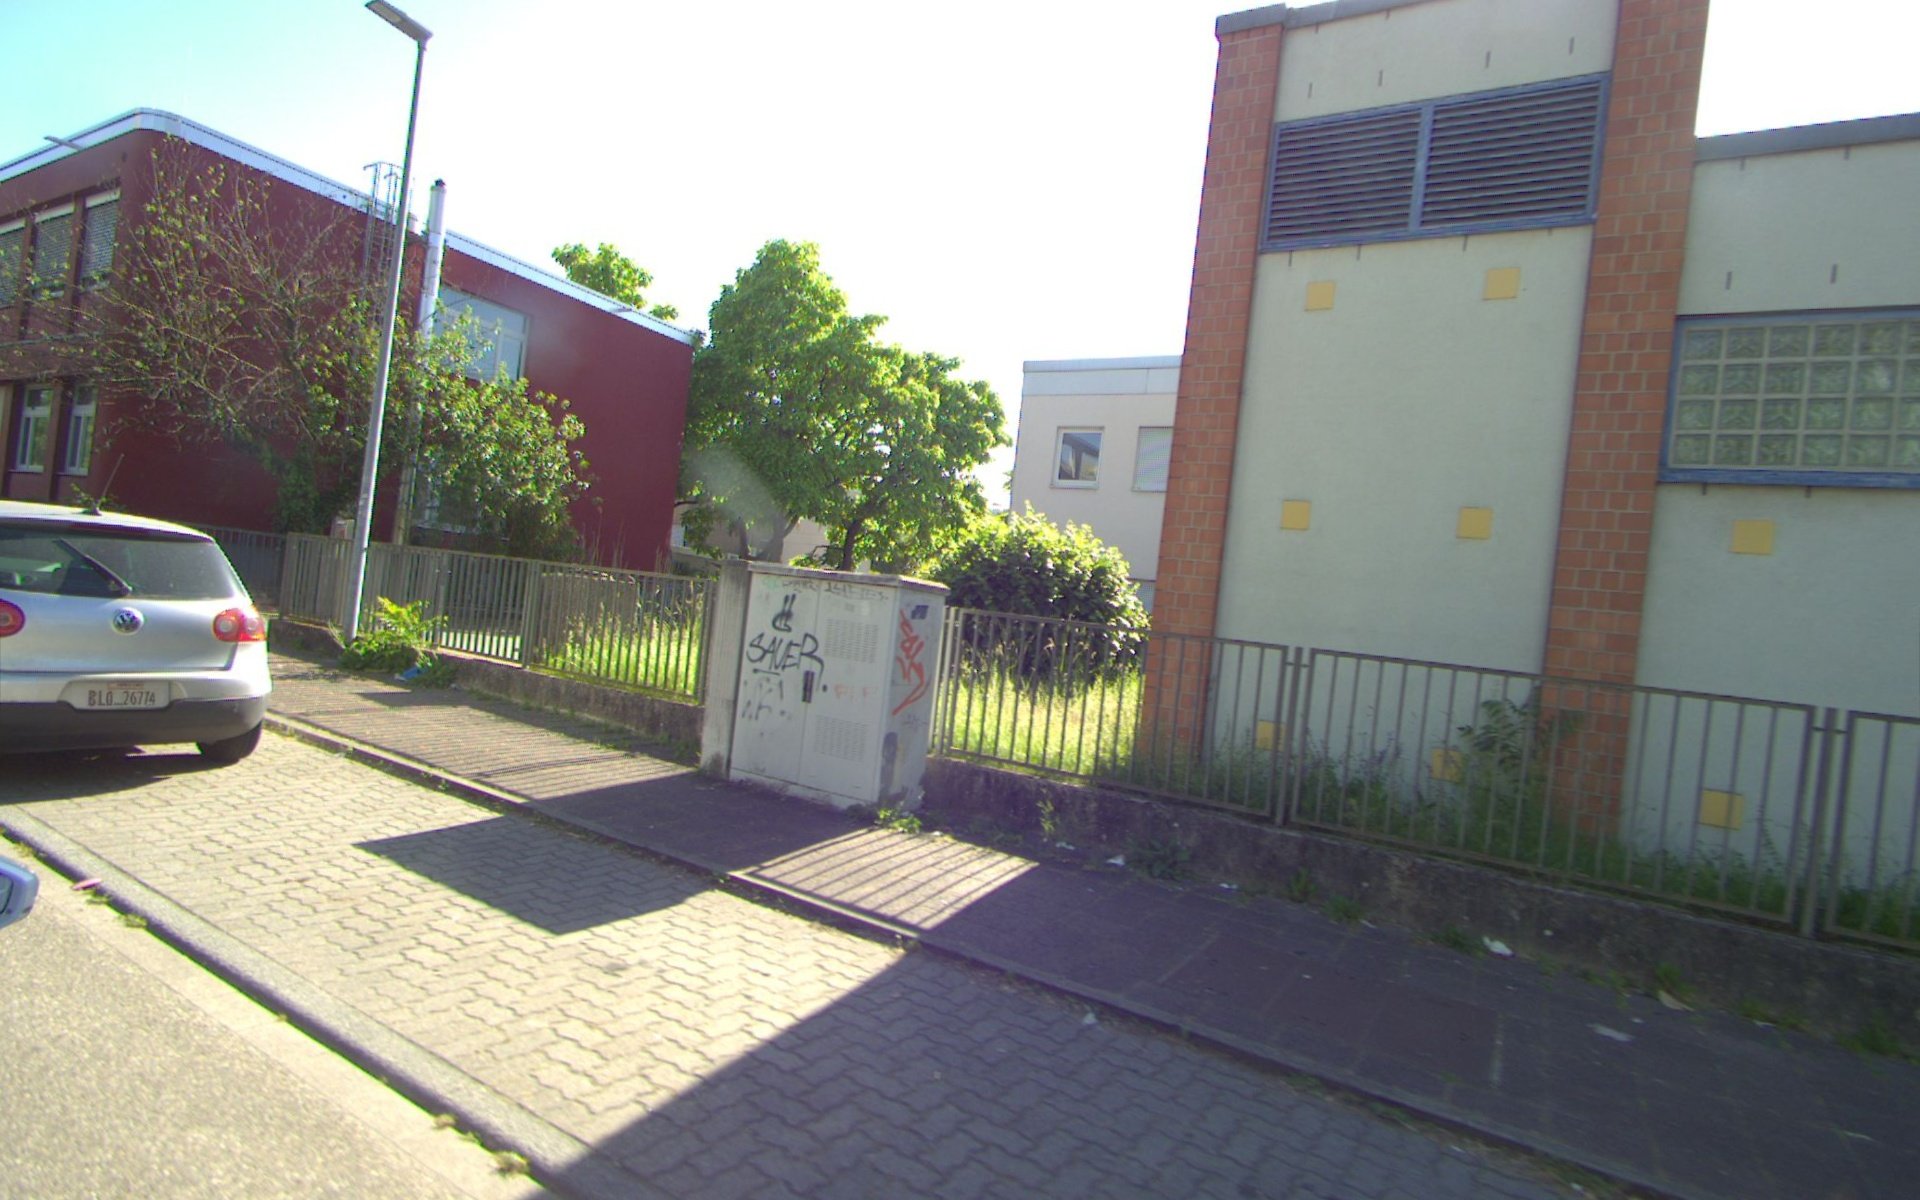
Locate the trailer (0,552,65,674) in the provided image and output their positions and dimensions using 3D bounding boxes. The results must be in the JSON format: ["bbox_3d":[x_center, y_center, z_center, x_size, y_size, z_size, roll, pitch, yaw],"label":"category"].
[{"bbox_3d":[-9.160,0.033,8.918,1.363,0.923,2.911,8,-1,-34],"label":"trailer"}]

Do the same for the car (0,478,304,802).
[{"bbox_3d":[-6.038,0.056,6.318,3.870,1.580,1.662,7,-1,33],"label":"car"}]
